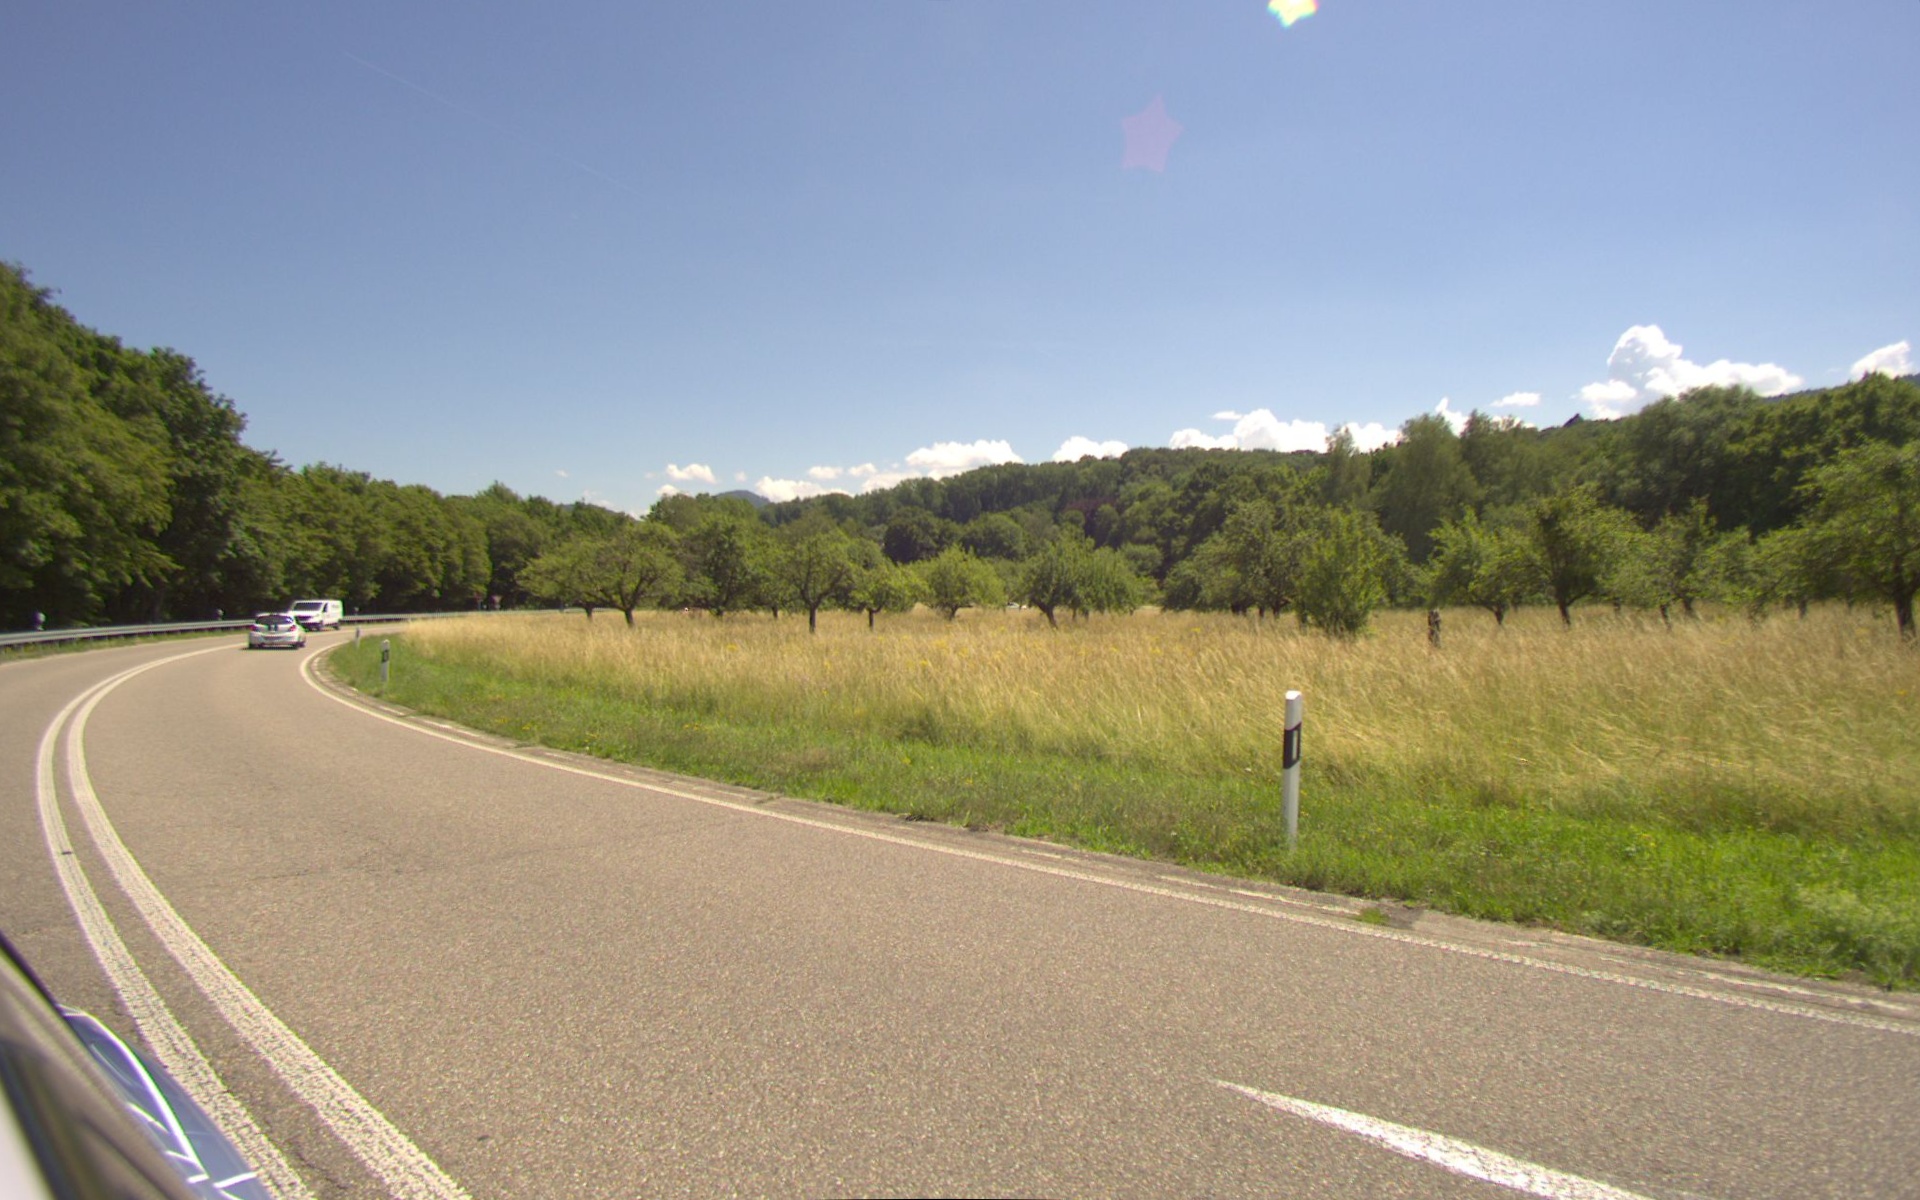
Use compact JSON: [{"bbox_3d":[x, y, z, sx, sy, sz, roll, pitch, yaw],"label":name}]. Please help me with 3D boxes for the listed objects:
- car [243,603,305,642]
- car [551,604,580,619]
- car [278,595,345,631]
[{"bbox_3d":[-28.240,0.925,41.770,1.797,1.518,4.184,2,-2,-31],"label":"car"},{"bbox_3d":[-43.426,1.246,111.445,1.800,1.469,4.405,4,0,-5],"label":"car"},{"bbox_3d":[-42.082,0.793,65.859,2.188,2.048,5.444,3,0,-17],"label":"car"}]
